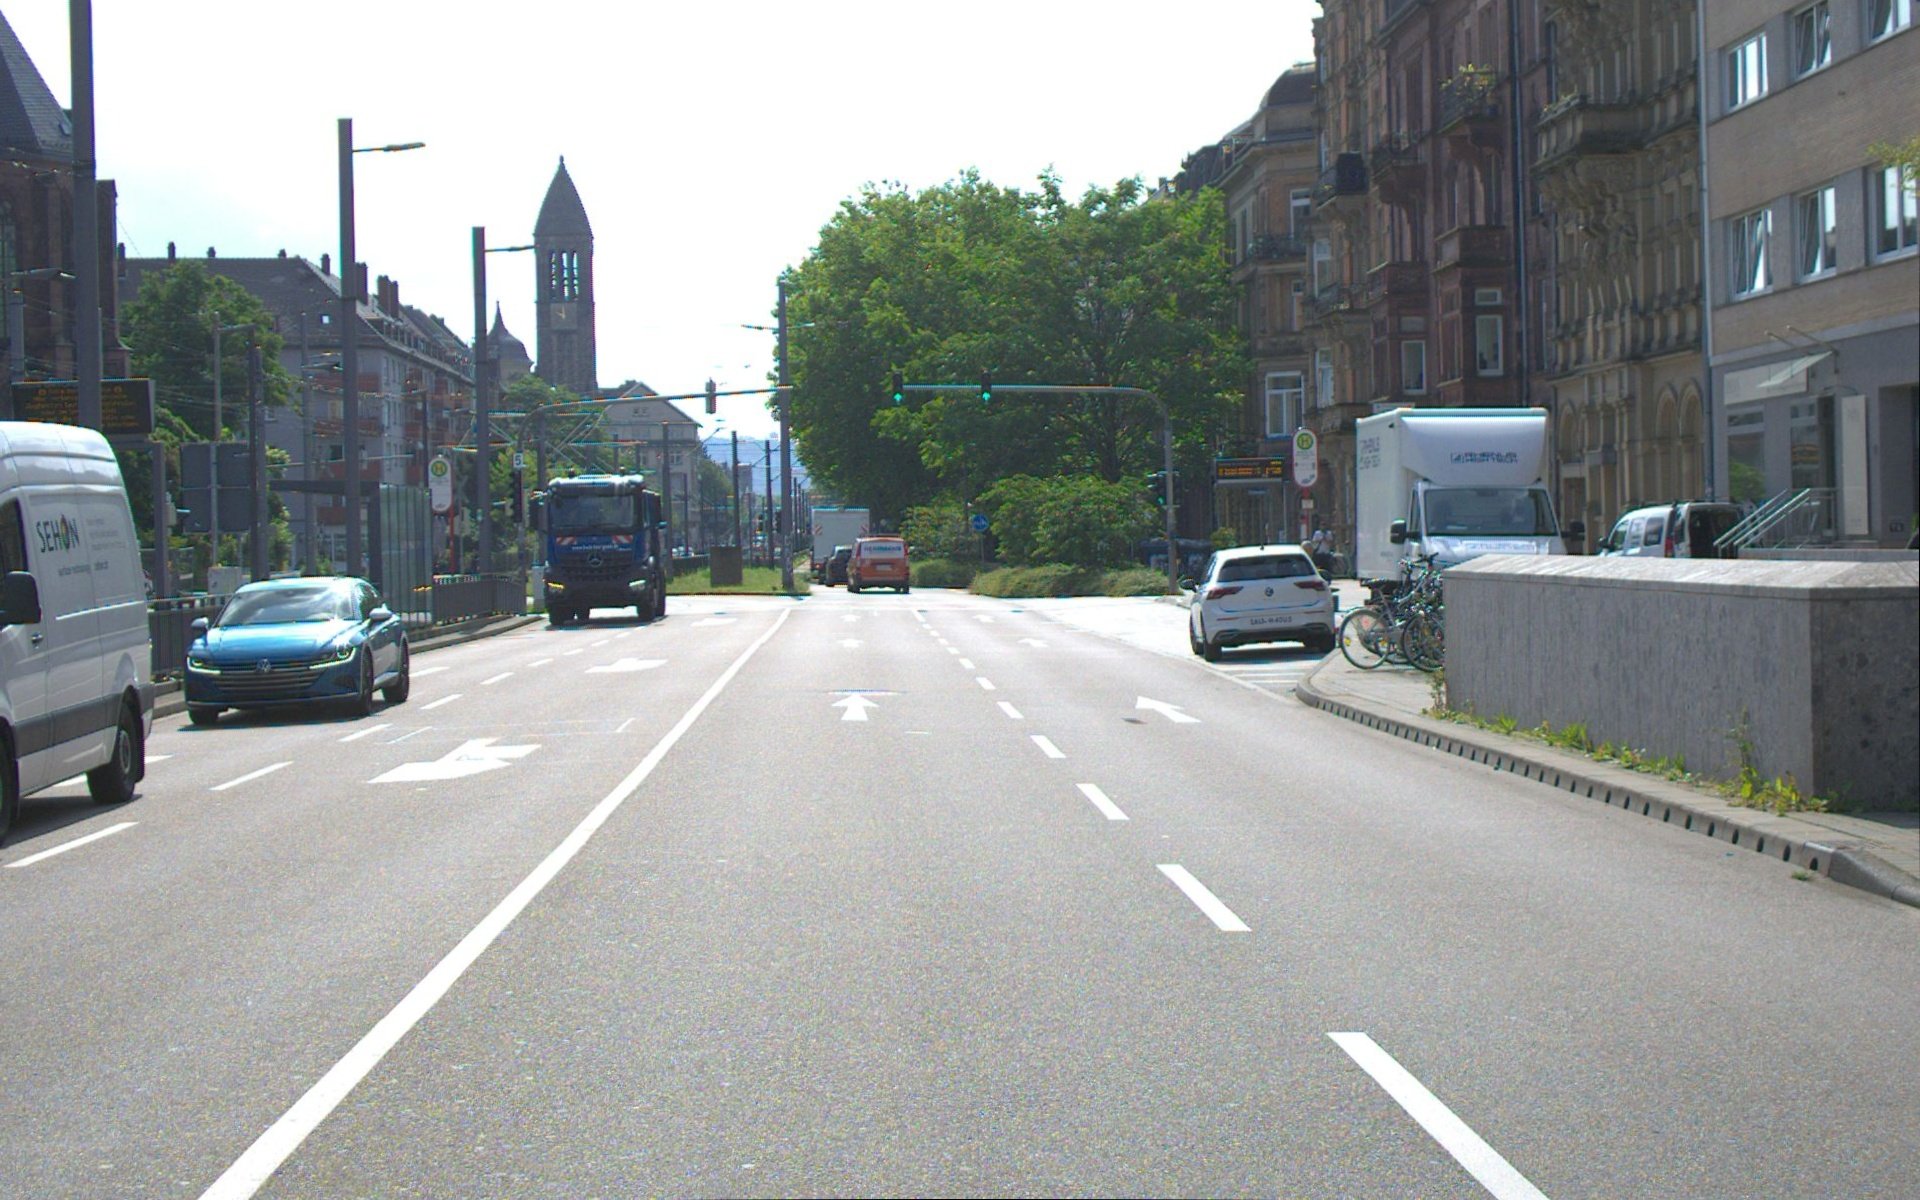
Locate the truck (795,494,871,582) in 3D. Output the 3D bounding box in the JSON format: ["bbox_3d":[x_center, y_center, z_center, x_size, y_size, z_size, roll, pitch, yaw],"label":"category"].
[{"bbox_3d":[-5.462,-2.634,148.988,3.169,3.275,7.295,0,-4,-1],"label":"truck"}]

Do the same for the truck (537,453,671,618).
[{"bbox_3d":[-8.261,-1.515,80.481,2.463,3.636,7.450,-1,1,-1],"label":"truck"}]

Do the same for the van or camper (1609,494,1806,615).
[{"bbox_3d":[12.868,-0.803,59.535,1.993,1.898,5.299,-3,1,-2],"label":"van or camper"}]

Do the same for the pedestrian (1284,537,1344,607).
[{"bbox_3d":[6.748,-0.533,65.554,0.742,1.311,0.821,1,0,-40],"label":"pedestrian"}]

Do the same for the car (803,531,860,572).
[{"bbox_3d":[-4.850,-1.837,129.193,1.993,1.503,4.001,-1,1,-3],"label":"car"}]

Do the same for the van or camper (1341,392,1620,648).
[{"bbox_3d":[7.291,-1.109,49.135,2.712,3.319,7.640,-1,1,0],"label":"van or camper"}]

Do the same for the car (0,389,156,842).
[{"bbox_3d":[-6.609,0.087,21.437,1.993,2.613,5.581,-2,1,-2],"label":"car"}]

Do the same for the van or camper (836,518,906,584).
[{"bbox_3d":[-3.016,-1.624,115.900,2.008,1.908,4.523,1,-3,-6],"label":"van or camper"}]

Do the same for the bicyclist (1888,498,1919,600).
[{"bbox_3d":[11.407,-0.594,40.561,0.708,1.144,0.813,1,-3,0],"label":"bicyclist"}]

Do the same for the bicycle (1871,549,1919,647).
[{"bbox_3d":[11.395,-0.011,40.586,0.704,1.044,2.208,1,-3,0],"label":"bicycle"}]

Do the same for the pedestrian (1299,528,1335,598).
[{"bbox_3d":[10.368,-1.074,99.962,0.885,2.007,0.996,1,0,-2],"label":"pedestrian"}]

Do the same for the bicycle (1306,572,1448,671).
[{"bbox_3d":[4.717,0.234,38.877,1.596,1.081,0.372,-1,2,-21],"label":"bicycle"}]

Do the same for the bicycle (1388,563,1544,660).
[{"bbox_3d":[5.843,0.130,39.691,1.758,1.081,0.372,-1,2,-14],"label":"bicycle"}]

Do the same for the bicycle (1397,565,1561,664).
[{"bbox_3d":[5.742,0.154,38.054,1.758,1.081,0.372,0,2,1],"label":"bicycle"}]

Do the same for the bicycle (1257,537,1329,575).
[{"bbox_3d":[10.624,-1.394,109.611,2.189,1.177,0.684,-1,1,-6],"label":"bicycle"}]

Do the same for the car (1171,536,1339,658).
[{"bbox_3d":[3.939,-0.057,46.572,1.791,1.432,4.343,-5,0,0],"label":"car"}]

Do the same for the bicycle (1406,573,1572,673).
[{"bbox_3d":[5.786,0.248,37.653,1.758,1.081,0.372,0,2,1],"label":"bicycle"}]

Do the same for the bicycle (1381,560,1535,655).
[{"bbox_3d":[5.815,0.078,40.138,1.758,1.081,0.372,-1,2,-14],"label":"bicycle"}]

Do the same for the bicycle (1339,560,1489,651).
[{"bbox_3d":[5.498,0.067,41.648,1.758,1.081,0.372,0,2,-7],"label":"bicycle"}]

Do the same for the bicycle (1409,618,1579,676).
[{"bbox_3d":[5.653,0.490,36.435,0.636,0.584,1.770,-2,1,-42],"label":"bicycle"}]

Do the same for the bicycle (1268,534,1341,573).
[{"bbox_3d":[10.843,-1.459,108.225,2.189,1.177,0.684,-1,1,-6],"label":"bicycle"}]

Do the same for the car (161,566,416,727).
[{"bbox_3d":[-7.080,0.444,36.682,1.850,1.450,4.555,-2,2,-1],"label":"car"}]

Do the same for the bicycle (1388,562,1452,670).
[{"bbox_3d":[4.880,0.155,36.552,0.371,1.067,1.764,0,2,-2],"label":"bicycle"}]

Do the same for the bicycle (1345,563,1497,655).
[{"bbox_3d":[5.530,0.104,41.244,1.758,1.081,0.372,0,2,-7],"label":"bicycle"}]
